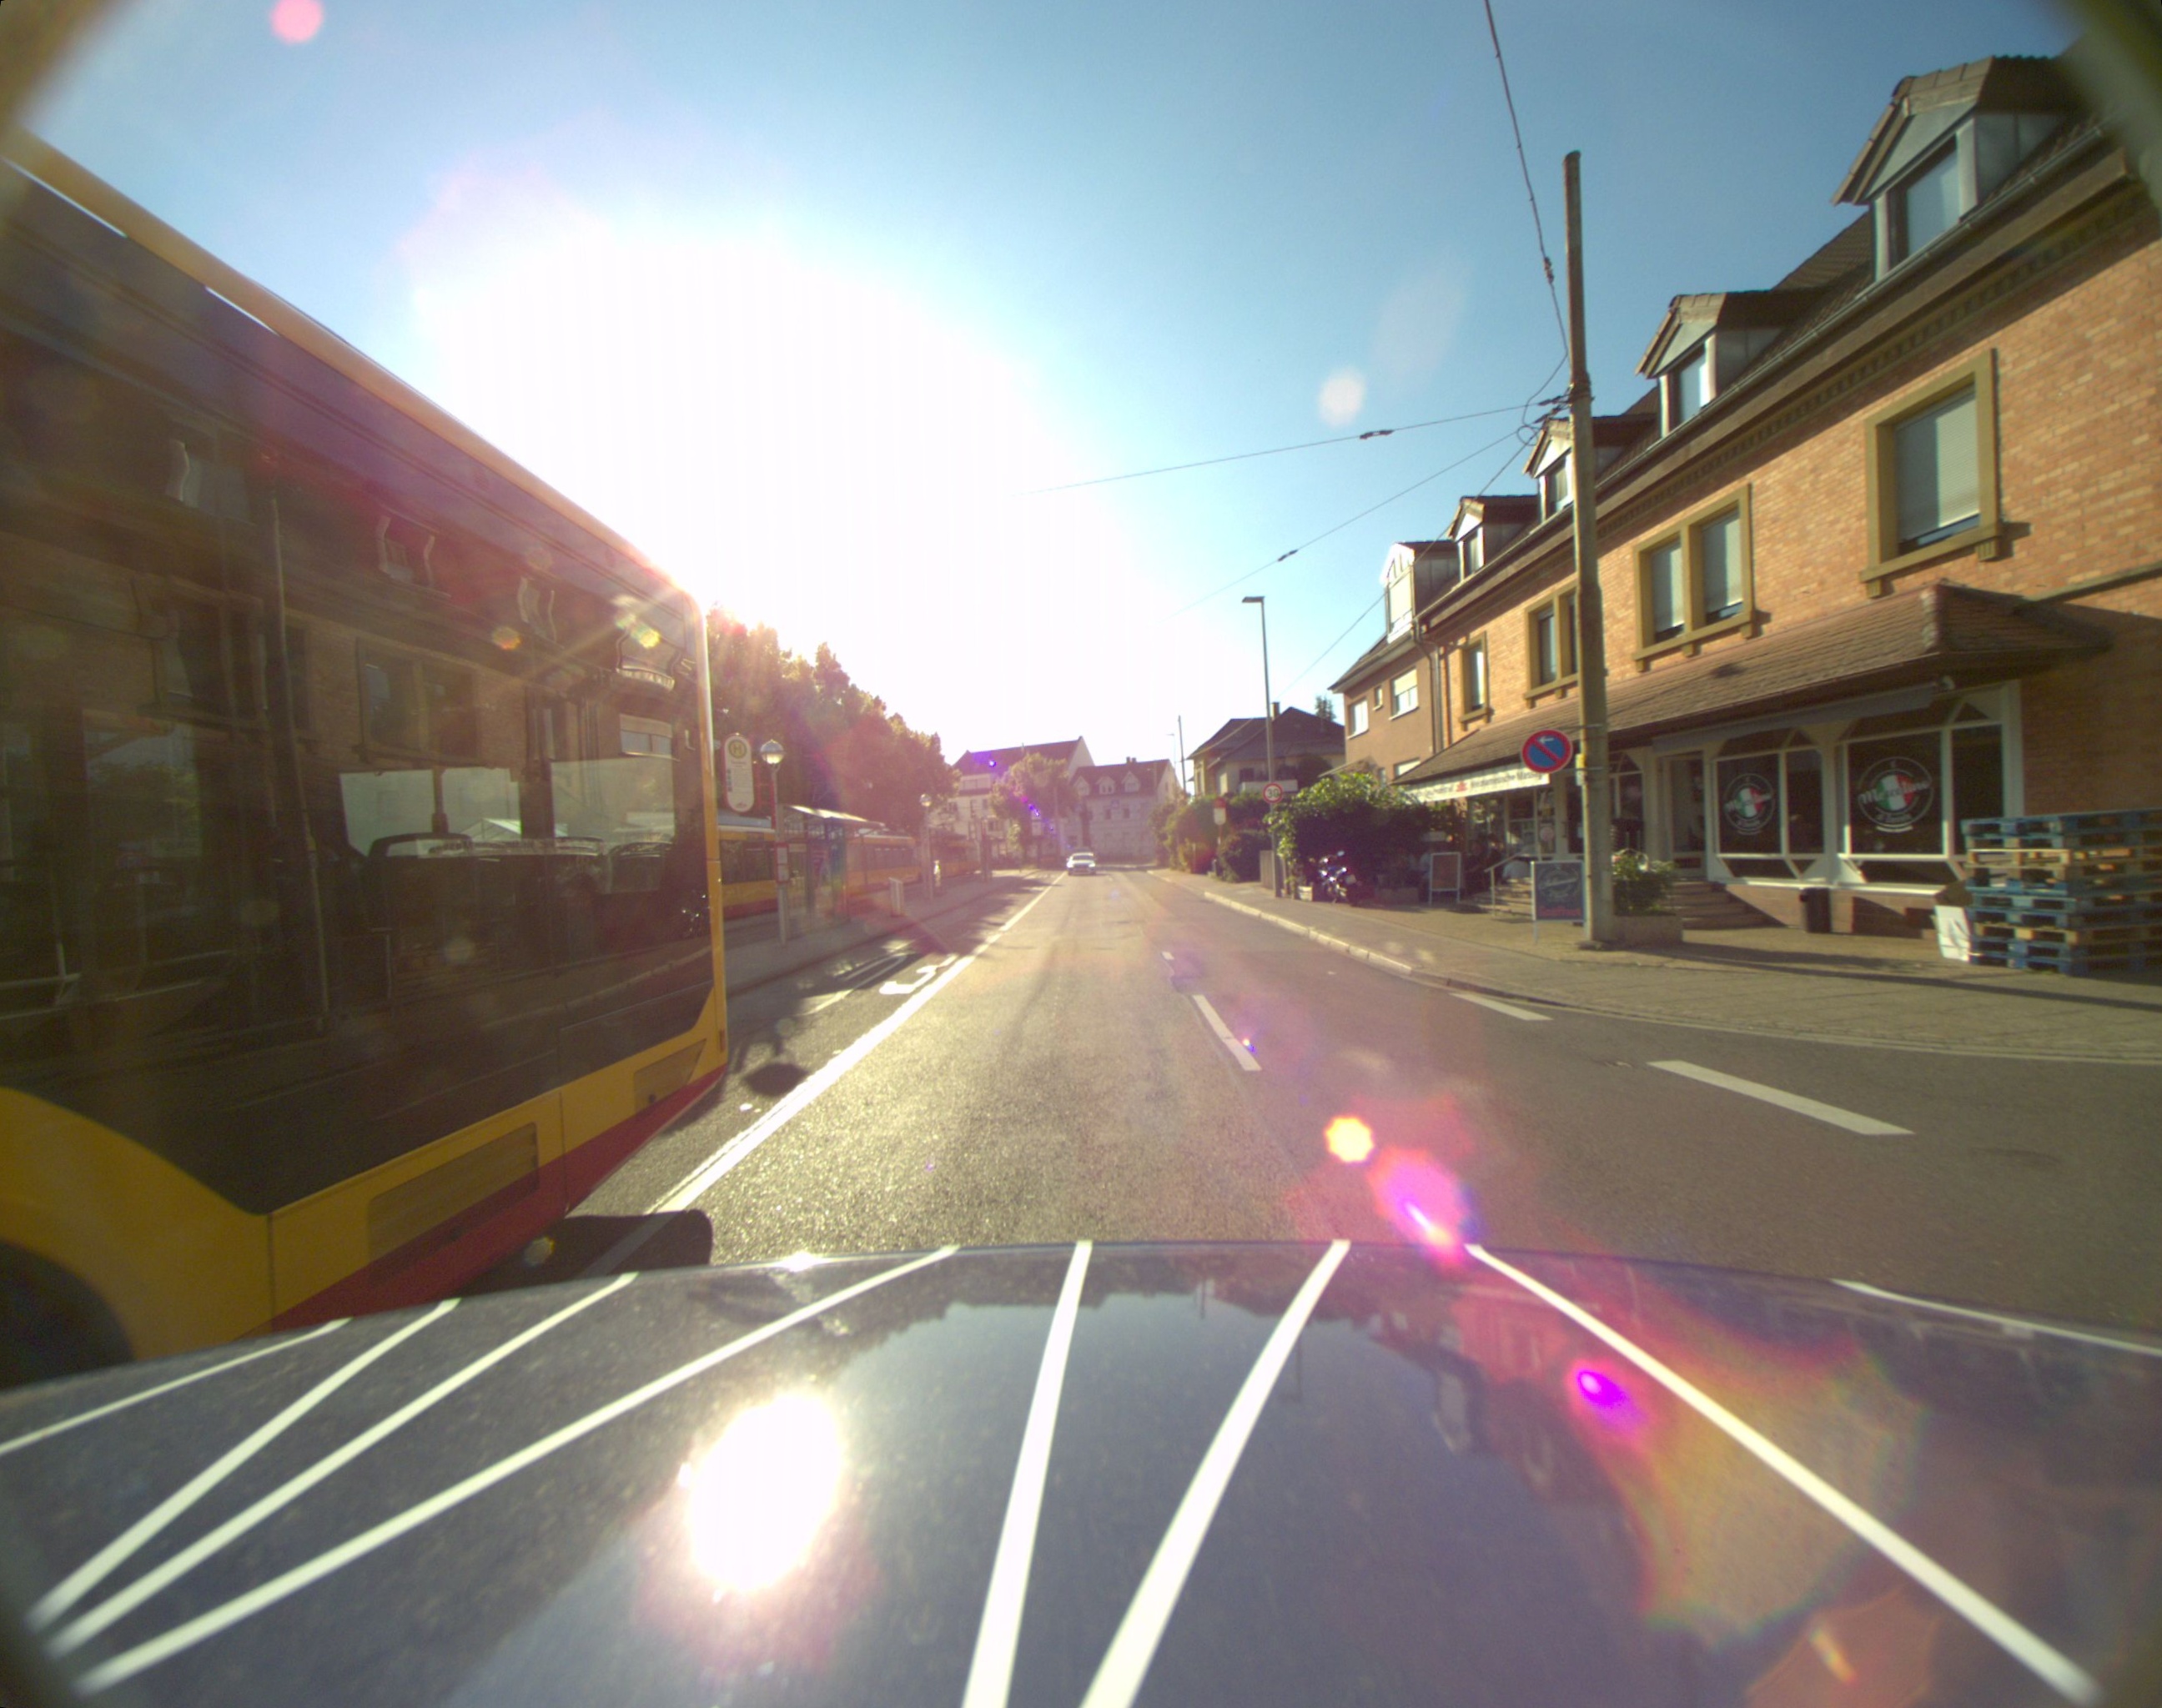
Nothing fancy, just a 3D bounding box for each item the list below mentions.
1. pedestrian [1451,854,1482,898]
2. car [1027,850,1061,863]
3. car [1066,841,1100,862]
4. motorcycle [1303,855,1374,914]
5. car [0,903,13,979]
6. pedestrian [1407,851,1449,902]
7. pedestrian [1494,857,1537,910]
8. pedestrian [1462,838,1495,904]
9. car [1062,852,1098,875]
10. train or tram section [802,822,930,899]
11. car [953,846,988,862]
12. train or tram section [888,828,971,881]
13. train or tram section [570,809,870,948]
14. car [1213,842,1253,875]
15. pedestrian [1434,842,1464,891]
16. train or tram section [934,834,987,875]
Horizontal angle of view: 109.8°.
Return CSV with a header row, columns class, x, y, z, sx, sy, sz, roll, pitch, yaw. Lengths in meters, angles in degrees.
class,x,y,z,sx,sy,sz,roll,pitch,yaw
pedestrian,9.454,0.528,18.627,0.525,1.041,0.383,-3,1,-15
car,-4.940,0.335,100.441,4.196,1.454,1.610,-4,0,32
car,0.173,-0.225,81.443,1.874,1.921,4.784,-4,0,-22
motorcycle,6.196,0.691,18.427,0.841,1.275,2.231,-4,1,-2
car,-27.422,2.080,17.029,4.448,1.759,2.001,-1,1,5
pedestrian,8.792,0.572,19.251,0.746,1.236,0.667,-3,1,4
pedestrian,9.604,0.643,16.813,0.564,1.103,0.632,-3,1,2
pedestrian,9.504,0.395,18.155,0.465,1.551,0.502,-2,2,-12
car,-0.047,0.613,51.615,1.998,1.454,4.451,-3,0,5
train or tram section,-11.355,0.164,42.173,2.964,3.514,13.461,-2,1,1
car,-15.401,0.002,105.727,4.263,1.945,2.003,-2,1,20
train or tram section,-11.021,0.027,57.293,2.965,3.401,15.938,-2,0,0
train or tram section,-11.594,0.467,27.719,2.964,3.514,15.966,-2,1,1
car,9.061,0.259,45.587,1.705,1.804,3.671,4,1,3
pedestrian,9.602,0.325,19.831,0.524,1.251,0.465,-3,1,2
train or tram section,-11.136,0.018,71.742,2.965,3.401,13.462,-2,0,-1
